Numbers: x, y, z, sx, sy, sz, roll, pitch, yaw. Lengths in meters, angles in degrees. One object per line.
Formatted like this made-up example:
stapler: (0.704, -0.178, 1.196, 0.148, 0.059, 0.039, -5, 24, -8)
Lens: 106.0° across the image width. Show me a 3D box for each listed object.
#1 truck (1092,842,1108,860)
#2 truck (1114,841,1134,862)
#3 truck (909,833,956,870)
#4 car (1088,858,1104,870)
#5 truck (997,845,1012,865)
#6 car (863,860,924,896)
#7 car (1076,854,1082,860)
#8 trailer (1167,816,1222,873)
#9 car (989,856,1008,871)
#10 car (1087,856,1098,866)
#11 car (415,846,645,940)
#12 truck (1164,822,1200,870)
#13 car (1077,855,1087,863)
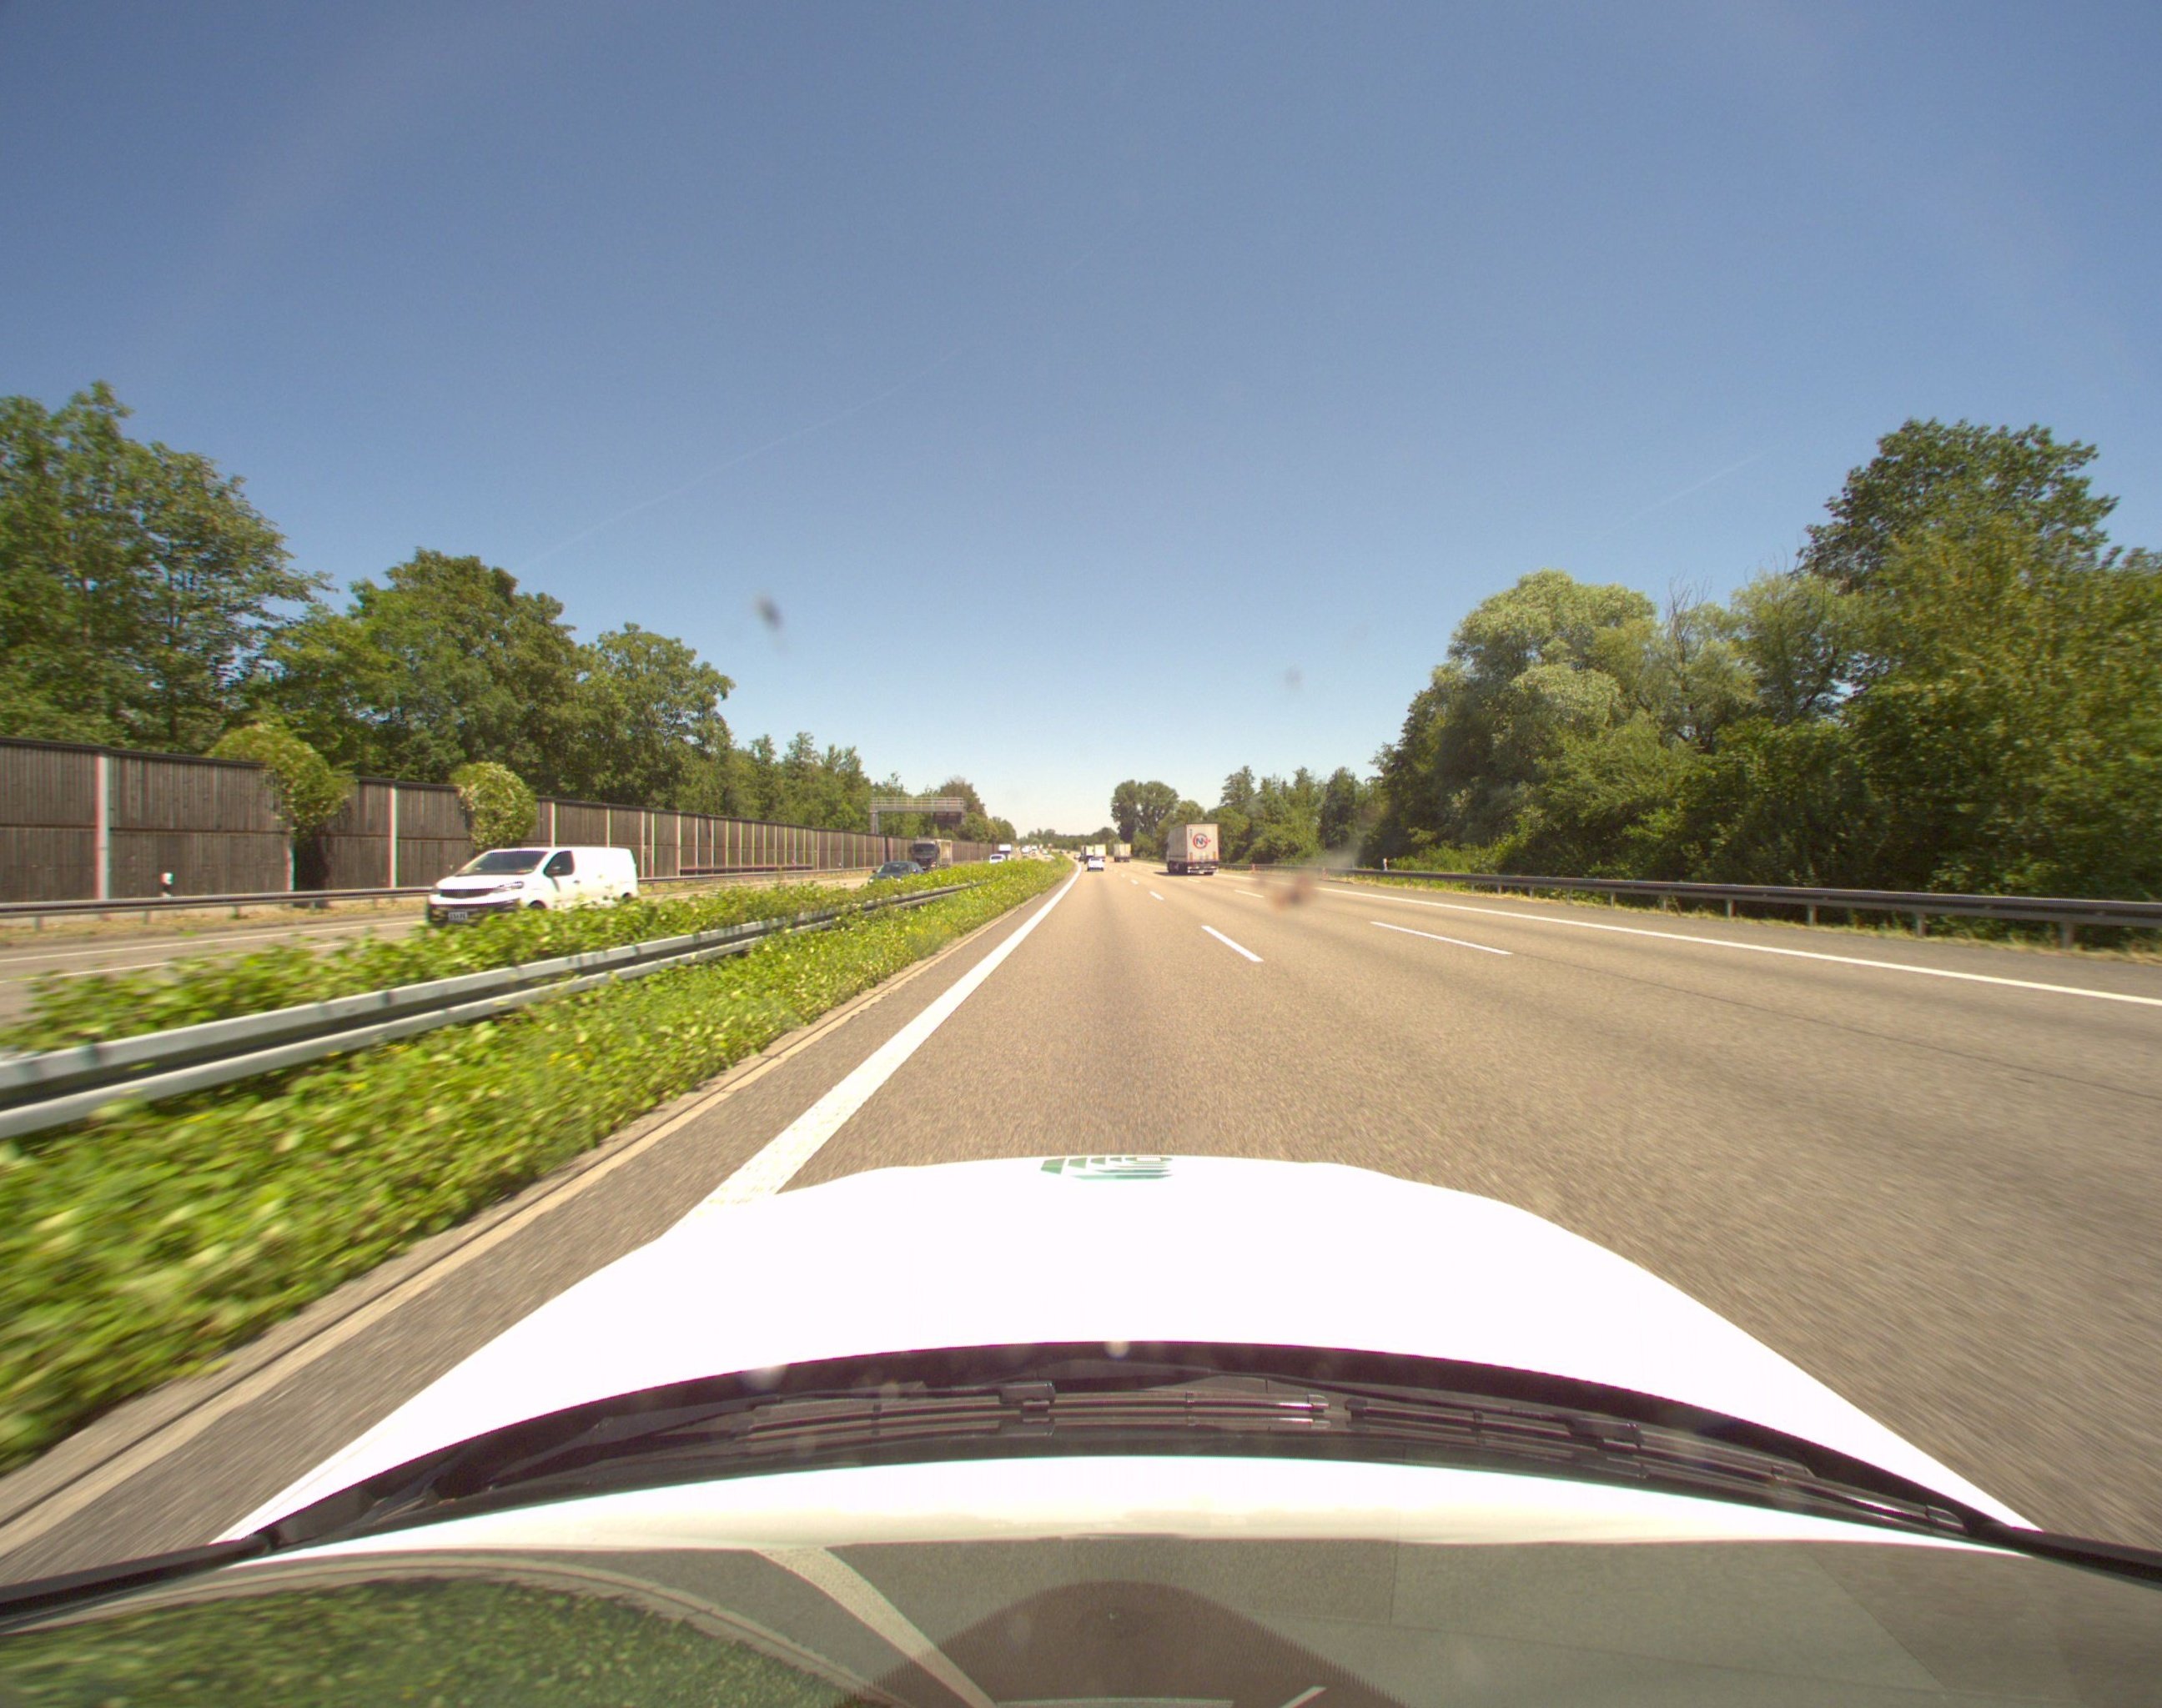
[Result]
truck: (4.504, -0.743, 199.359, 3.350, 4.311, 10.822, -1, 0, -1)
truck: (9.236, -0.447, 176.035, 3.483, 4.311, 10.981, -1, 0, -1)
truck: (-15.290, -0.208, 84.815, 2.860, 3.605, 9.953, -1, 0, 1)
car: (1.707, 1.095, 90.890, 1.708, 1.369, 3.377, -1, 0, 3)
truck: (-16.304, 0.152, 173.257, 2.512, 4.066, 6.369, -1, 0, 0)
car: (-7.839, 0.980, 34.416, 1.620, 1.390, 3.913, -1, 0, 0)
car: (-0.650, 0.894, 244.934, 1.719, 1.783, 3.997, -1, 0, -2)
trailer: (9.382, -0.725, 69.026, 2.615, 4.261, 14.058, -1, 0, 0)
car: (-11.298, 1.296, 111.999, 1.986, 2.013, 5.102, -1, 0, 1)
car: (2.156, 1.384, 154.386, 1.987, 1.772, 3.999, -1, 0, 0)
car: (-12.162, 0.776, 18.473, 1.861, 1.820, 4.818, -1, 0, 1)
truck: (9.356, -0.746, 76.032, 2.598, 4.287, 5.433, -1, 0, -1)
car: (0.232, 1.189, 192.823, 1.988, 2.013, 3.997, -1, 0, -2)
